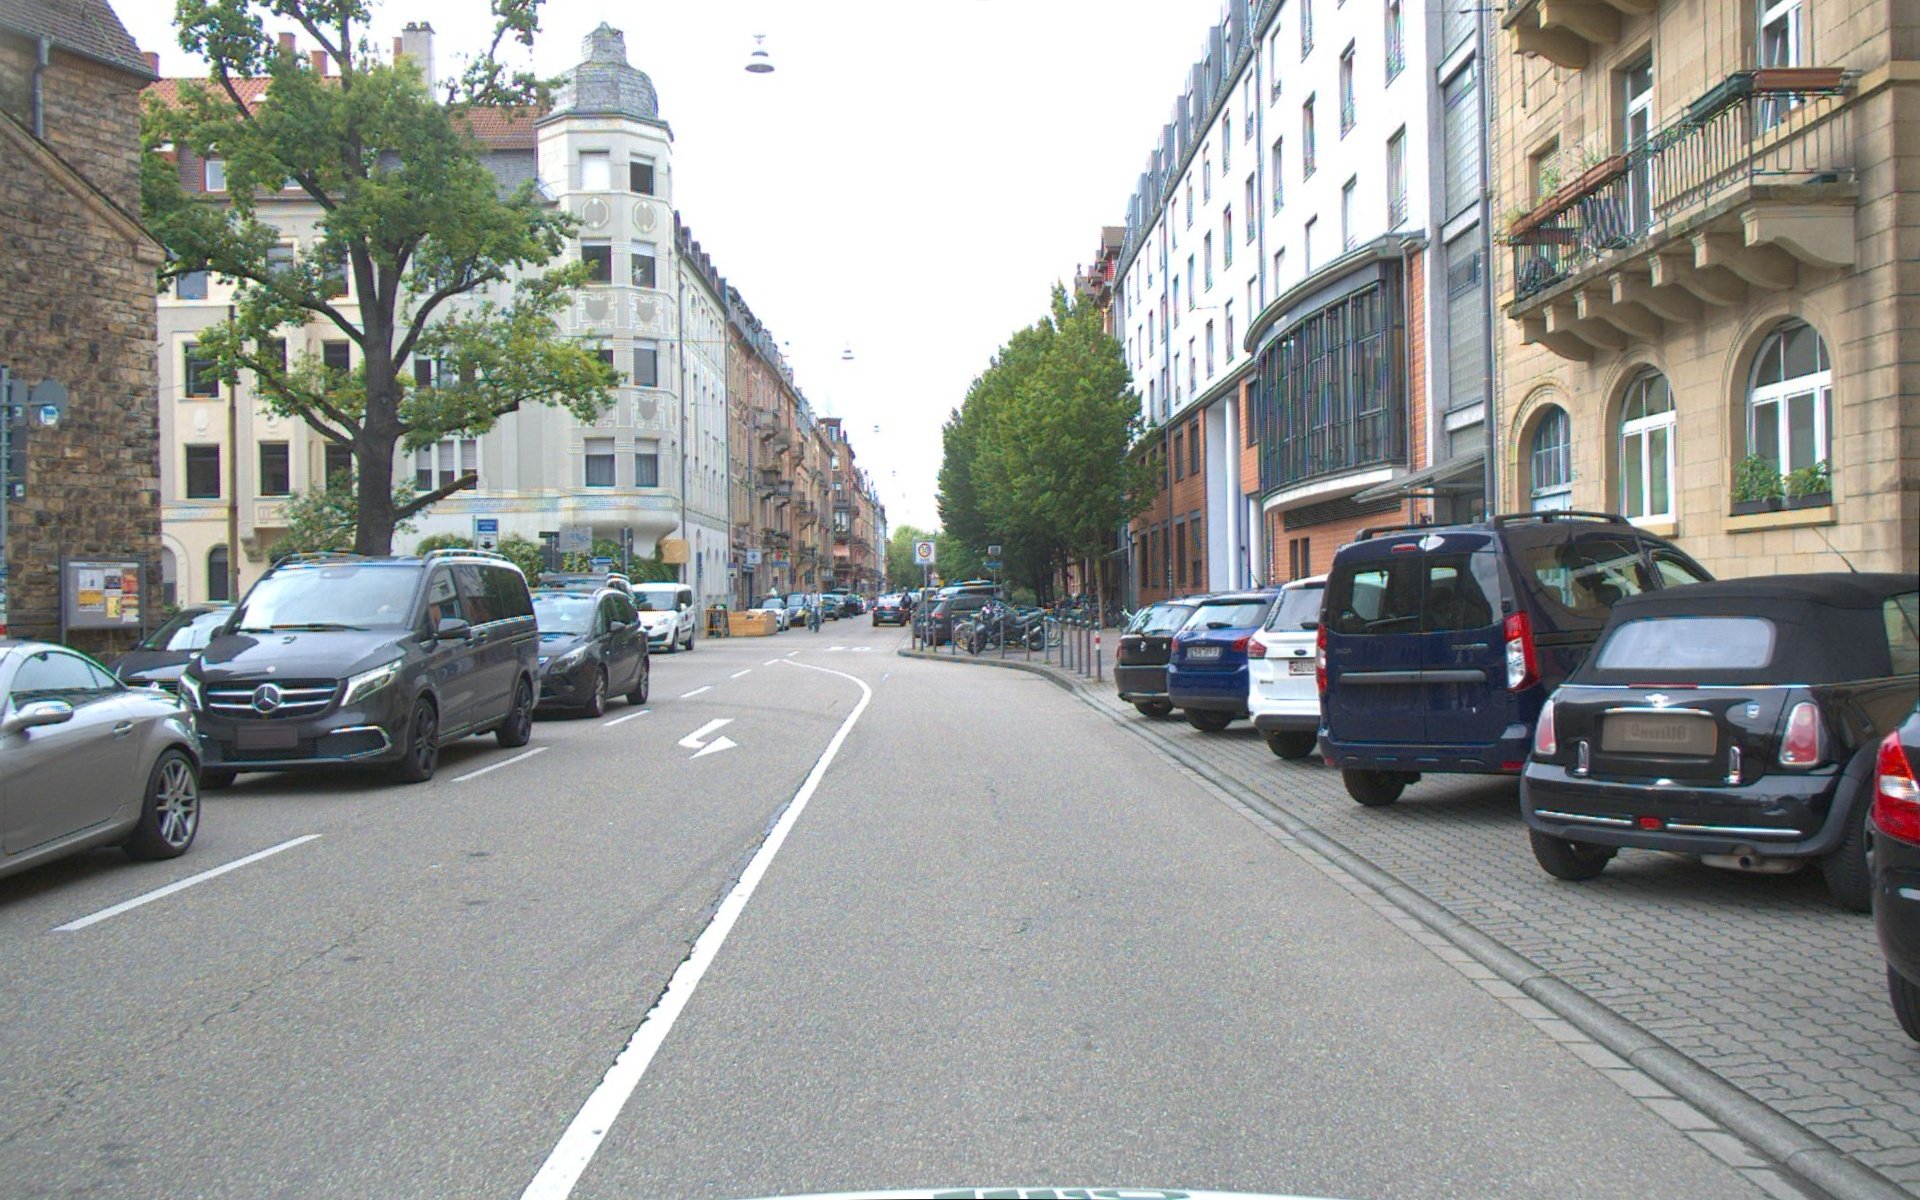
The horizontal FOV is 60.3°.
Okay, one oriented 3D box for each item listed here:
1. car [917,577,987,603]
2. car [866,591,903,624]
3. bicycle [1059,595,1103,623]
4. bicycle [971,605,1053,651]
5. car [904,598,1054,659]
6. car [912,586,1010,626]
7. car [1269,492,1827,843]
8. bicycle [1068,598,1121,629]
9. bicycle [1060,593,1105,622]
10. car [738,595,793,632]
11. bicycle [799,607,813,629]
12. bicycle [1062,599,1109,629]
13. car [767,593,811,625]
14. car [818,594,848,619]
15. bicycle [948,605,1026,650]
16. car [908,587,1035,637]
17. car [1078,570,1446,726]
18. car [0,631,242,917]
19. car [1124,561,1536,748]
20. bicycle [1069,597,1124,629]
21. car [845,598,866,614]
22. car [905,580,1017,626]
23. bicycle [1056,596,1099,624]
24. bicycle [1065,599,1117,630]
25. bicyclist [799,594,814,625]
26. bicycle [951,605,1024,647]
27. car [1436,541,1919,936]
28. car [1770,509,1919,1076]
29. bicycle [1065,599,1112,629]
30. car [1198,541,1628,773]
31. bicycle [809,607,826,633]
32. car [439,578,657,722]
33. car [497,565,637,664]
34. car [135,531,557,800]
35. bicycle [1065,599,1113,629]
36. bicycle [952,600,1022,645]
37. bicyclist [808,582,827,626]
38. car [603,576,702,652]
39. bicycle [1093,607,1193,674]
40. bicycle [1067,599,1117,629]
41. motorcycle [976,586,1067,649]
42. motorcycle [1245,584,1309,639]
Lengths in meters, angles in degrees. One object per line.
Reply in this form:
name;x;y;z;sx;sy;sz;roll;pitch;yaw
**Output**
car;-0.607;-0.778;131.504;5.332;1.900;1.930;-1;-1;-31
car;-4.096;0.427;90.166;1.953;1.710;3.998;0;-1;-2
bicycle;4.832;0.363;66.185;1.717;1.111;0.565;0;-1;-2
bicycle;1.281;0.704;41.122;1.969;1.081;0.611;-2;-1;-4
car;0.598;0.845;49.903;4.237;1.606;1.841;-3;0;-35
car;0.079;0.319;91.585;5.342;2.027;1.926;-1;-1;-35
car;4.222;0.307;11.520;4.248;1.939;1.850;-4;2;-43
bicycle;4.799;0.488;58.995;1.857;1.111;0.542;0;-1;-2
bicycle;4.841;0.291;65.477;1.717;1.111;0.565;0;-1;-2
car;-8.769;0.602;74.844;1.904;1.580;3.818;-2;0;2
bicycle;-7.252;0.865;77.735;0.524;0.995;1.864;0;-1;-2
bicycle;4.742;0.531;62.616;1.717;1.111;0.565;0;-1;-2
car;-8.883;0.466;86.184;1.904;1.645;3.942;0;0;-1
car;-9.192;0.458;119.741;1.904;1.772;3.942;0;0;-1
bicycle;0.677;0.701;41.894;1.891;1.061;0.611;-2;-1;-4
car;0.402;0.415;57.463;4.008;1.612;1.882;-1;-1;-32
car;3.694;0.520;20.115;4.195;1.504;1.671;-4;2;-26
car;-5.329;0.866;8.255;1.670;1.309;4.042;-3;-1;0
car;3.908;0.494;17.357;3.947;1.560;1.912;-4;2;-31
bicycle;4.815;0.470;58.389;1.894;1.111;0.576;0;-1;-2
car;-9.630;0.547;152.273;1.954;1.344;3.996;0;-1;-4
car;0.059;0.131;83.541;5.561;2.164;1.926;-1;-1;-35
bicycle;4.761;0.408;66.986;1.717;1.111;0.565;0;-1;-2
bicycle;4.730;0.510;59.802;1.799;1.111;0.542;0;-1;-2
bicyclist;-7.223;0.449;77.734;0.655;1.423;0.783;0;-1;-4
bicycle;0.714;0.686;43.513;1.846;1.061;0.611;-2;-1;-4
car;4.556;0.505;8.678;4.034;1.478;2.002;-5;1;-40
car;4.680;0.468;5.616;4.424;1.579;1.825;-2;0;-40
bicycle;4.807;0.527;62.012;1.717;1.111;0.565;0;-1;-2
car;4.097;0.408;14.651;3.966;1.629;1.739;-5;2;-41
bicycle;-6.256;0.885;72.635;0.556;1.106;1.987;0;0;1
car;-5.357;0.588;22.118;1.807;1.713;4.548;0;0;-1
car;-8.634;0.293;36.806;1.972;2.049;5.181;0;0;-1
car;-5.196;0.471;14.913;1.873;1.989;5.283;0;0;0
bicycle;4.788;0.518;61.228;1.717;1.111;0.565;0;-1;-2
bicycle;0.739;0.626;45.624;1.846;1.161;0.611;-2;-1;-4
bicyclist;-6.284;0.170;72.814;0.766;1.899;0.714;0;0;1
car;-8.378;0.355;45.444;1.805;1.973;4.548;0;0;1
bicycle;3.253;0.725;29.508;0.724;1.123;1.710;-2;0;-42
bicycle;4.831;0.517;60.599;1.799;1.111;0.565;0;-1;-2
motorcycle;1.489;0.430;40.006;2.092;1.454;0.770;-2;-1;-4
motorcycle;7.445;0.253;38.971;1.007;1.223;2.208;-2;0;-1
